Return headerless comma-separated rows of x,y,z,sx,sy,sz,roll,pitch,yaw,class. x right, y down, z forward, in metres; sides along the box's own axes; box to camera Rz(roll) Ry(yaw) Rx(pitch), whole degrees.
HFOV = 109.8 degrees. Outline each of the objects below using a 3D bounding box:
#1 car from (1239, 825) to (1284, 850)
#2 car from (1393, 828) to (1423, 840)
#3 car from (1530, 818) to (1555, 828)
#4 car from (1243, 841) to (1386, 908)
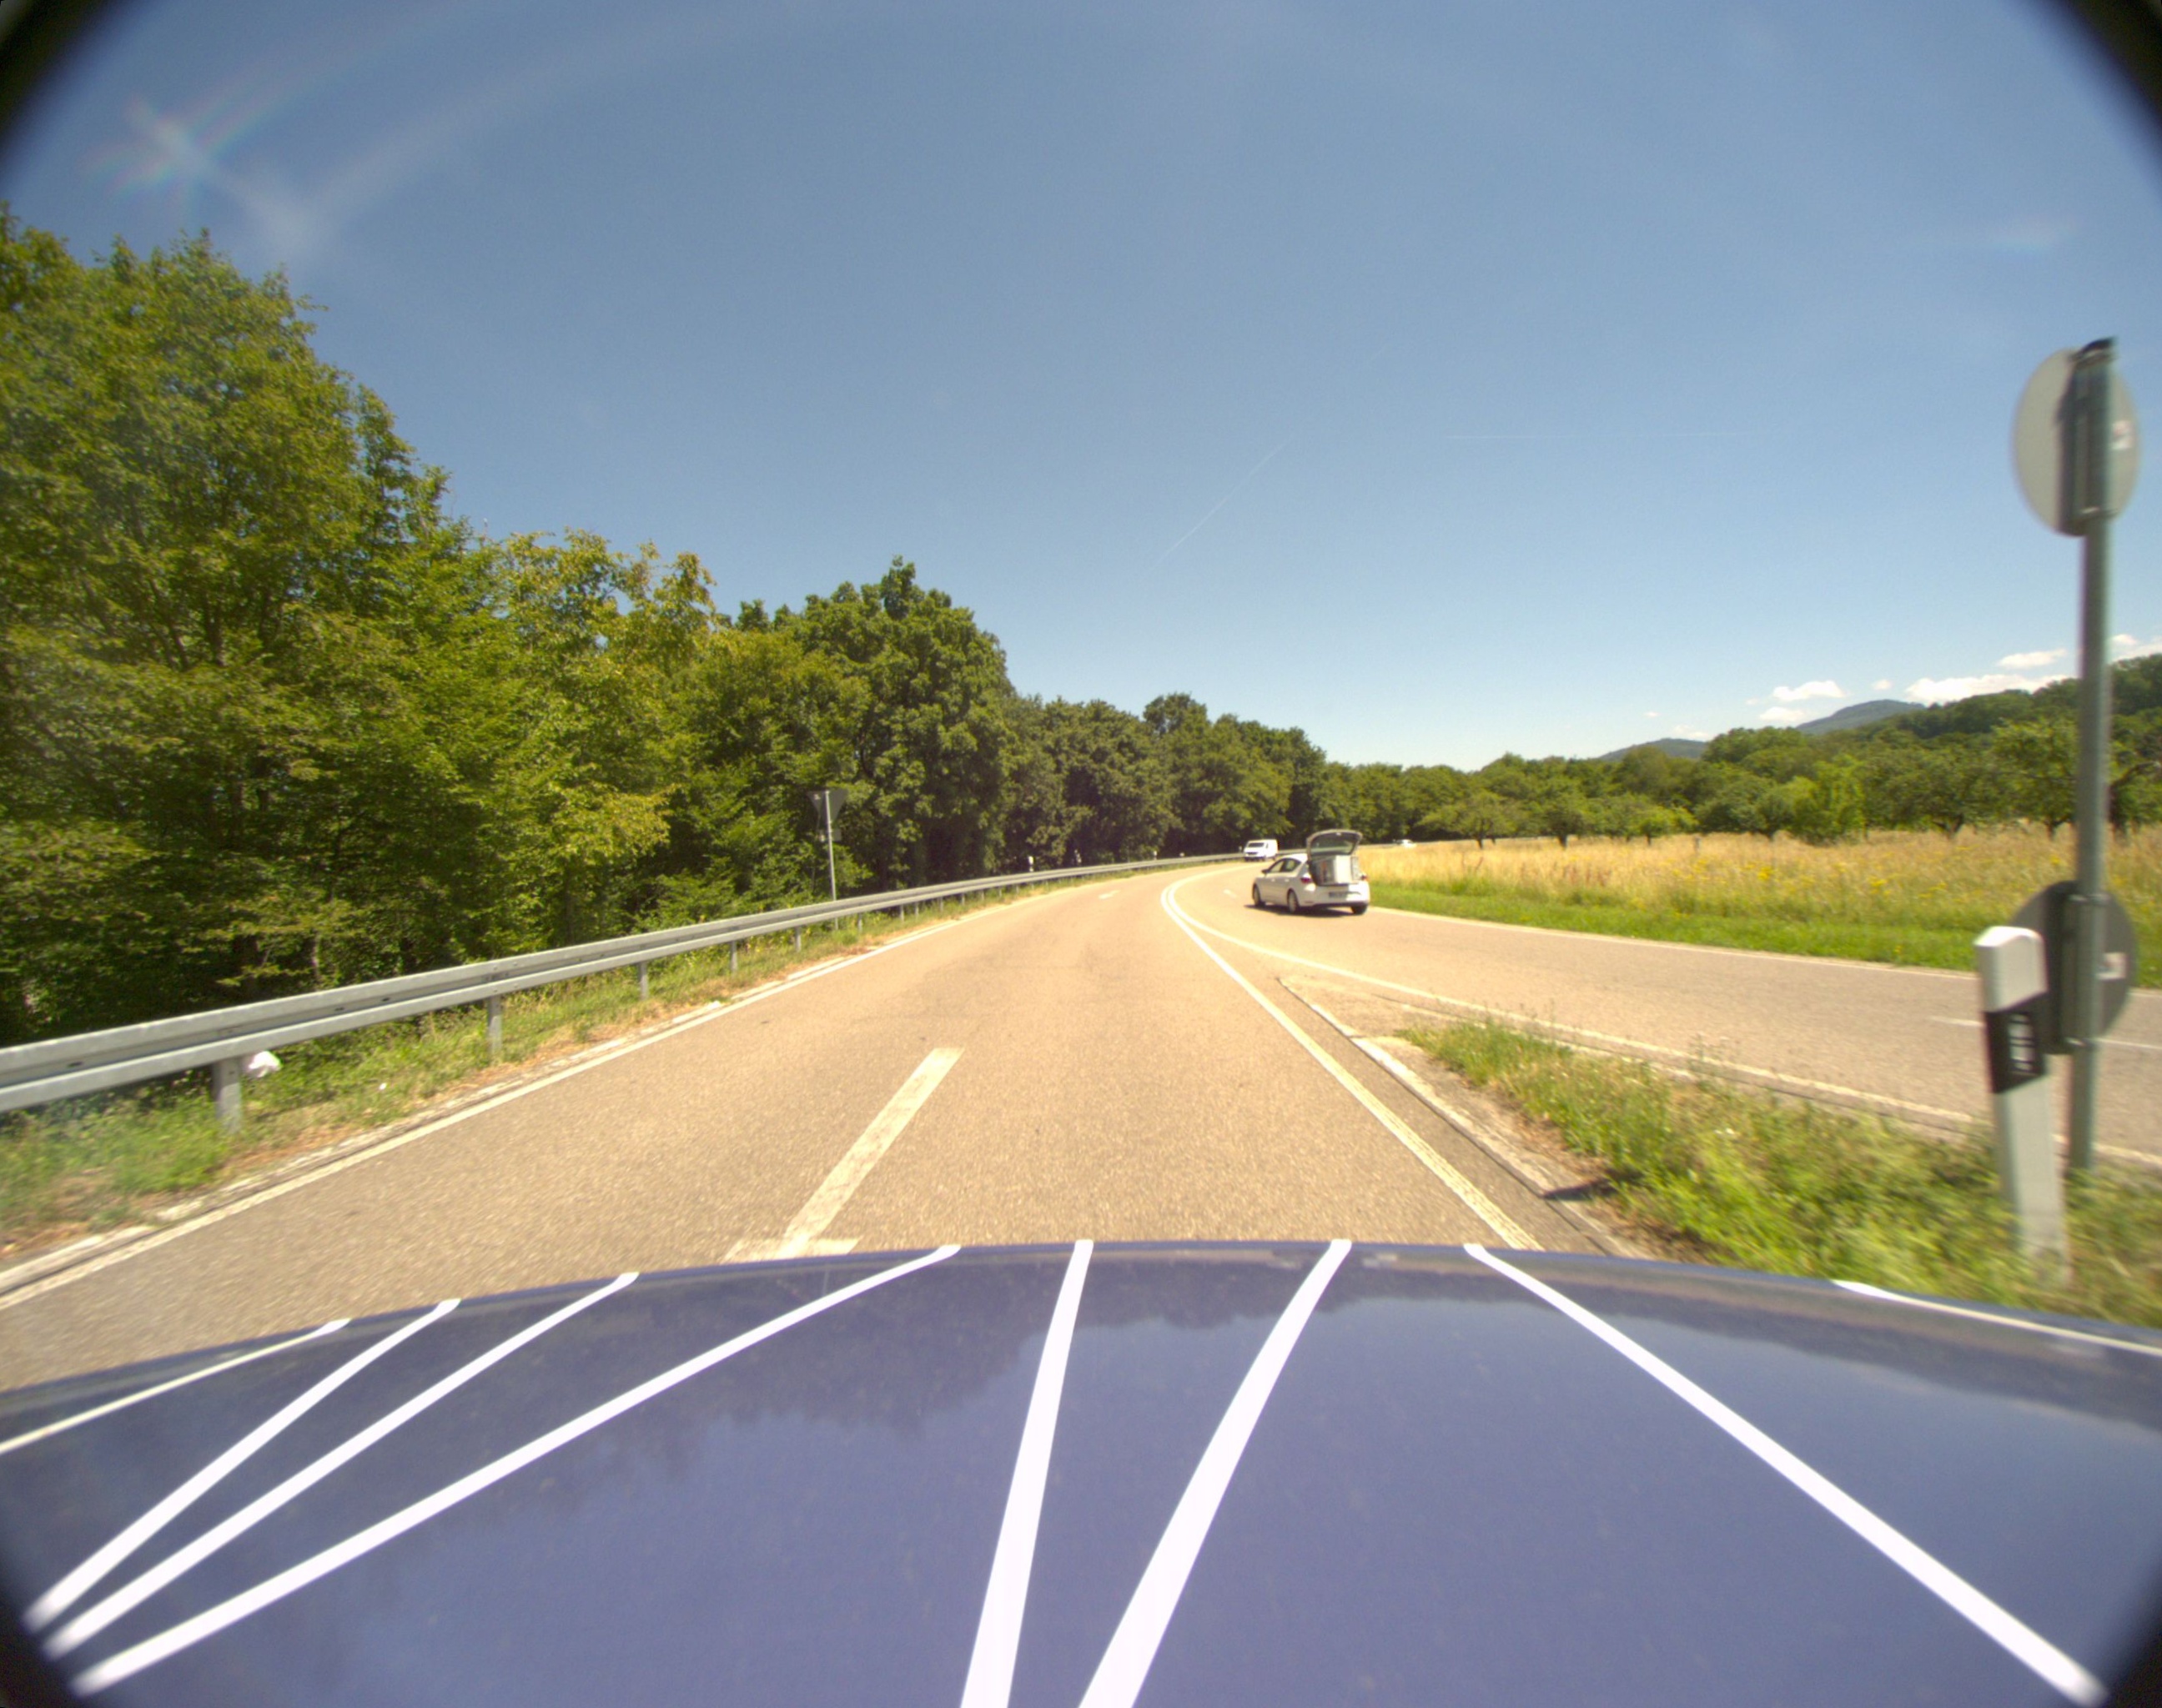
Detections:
17.178,-1.621,72.010,2.219,2.023,5.435,3,5,36,car
42.603,-2.592,98.899,4.180,1.498,1.823,-1,2,-39,car
74.222,-5.014,122.112,4.407,1.451,1.822,-4,6,-36,car
5.639,0.414,18.938,1.852,1.416,4.143,-1,2,-7,car
